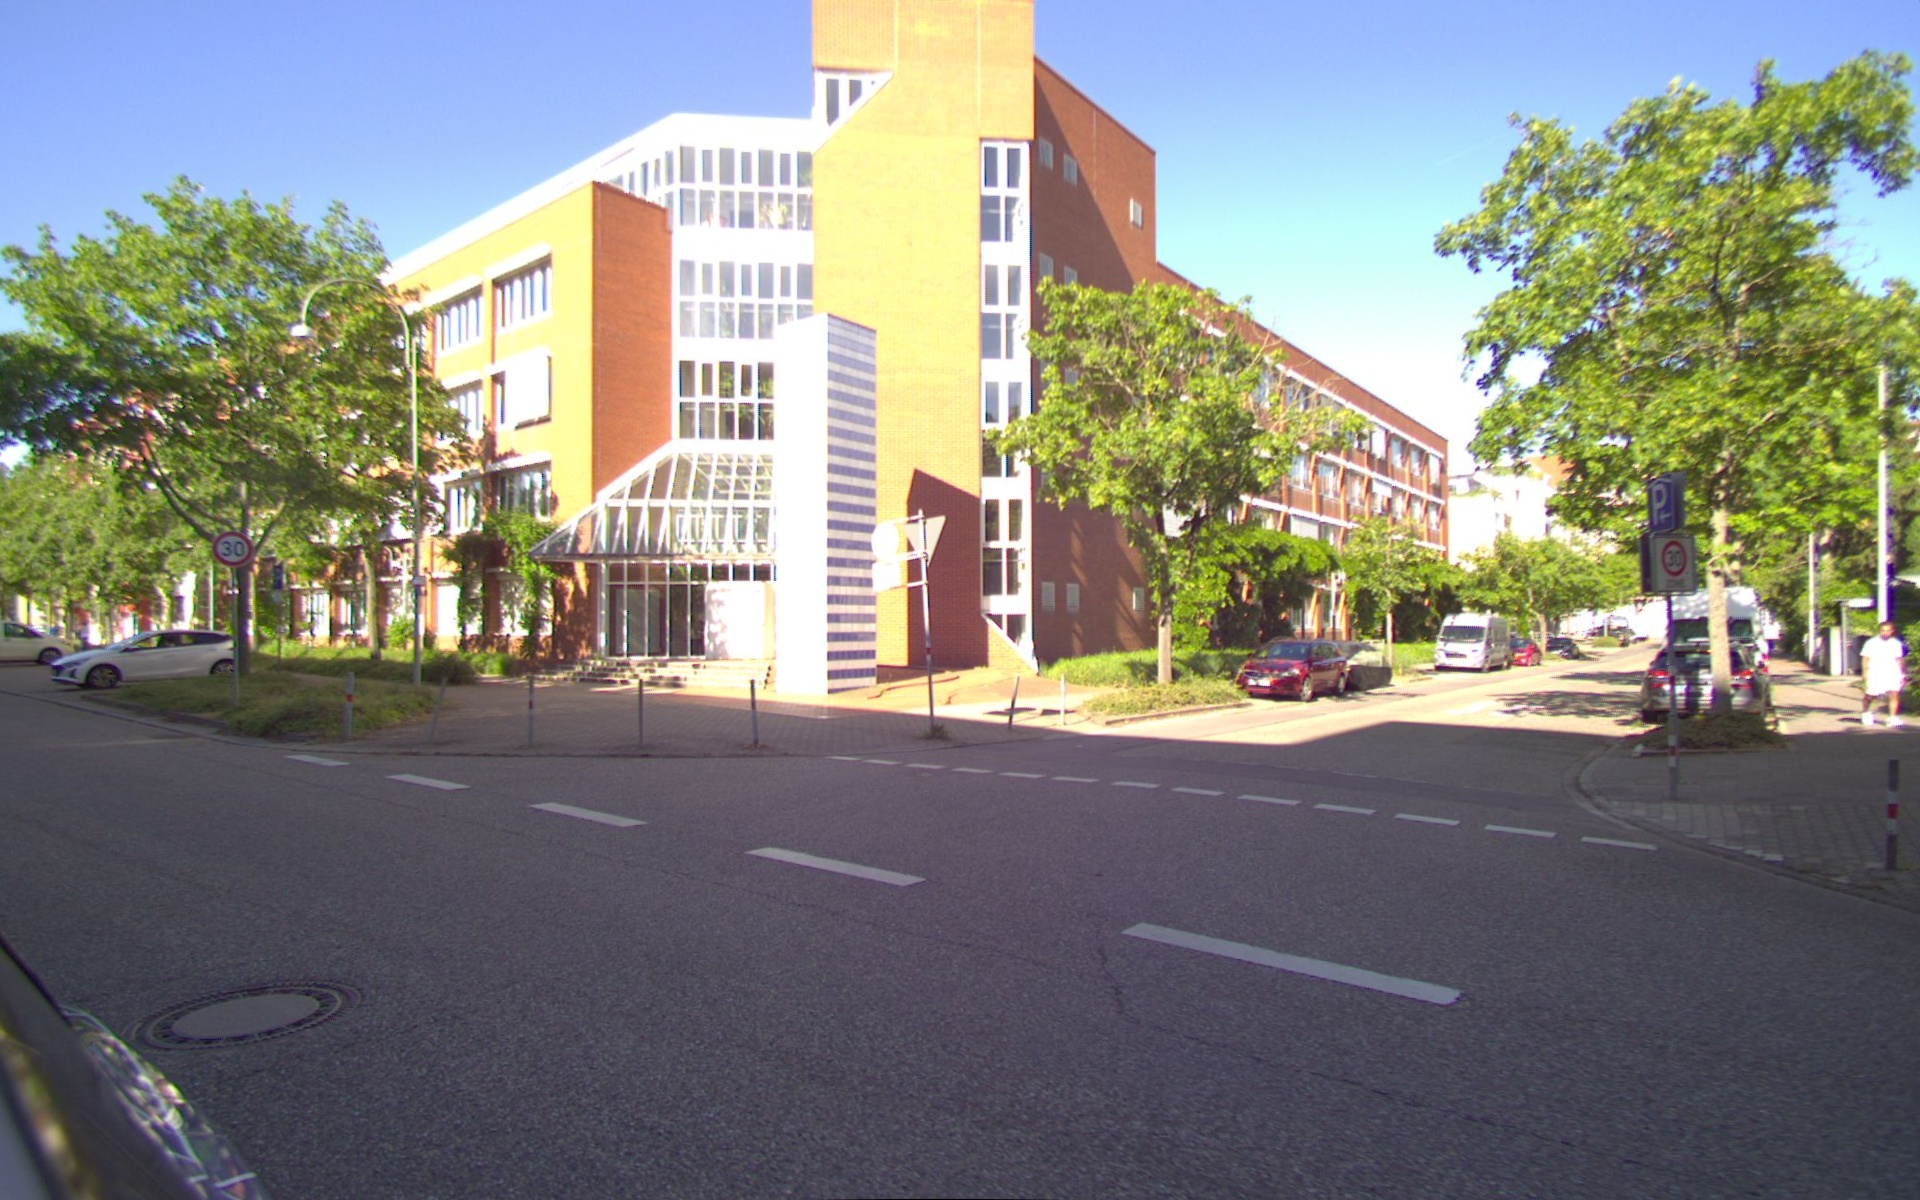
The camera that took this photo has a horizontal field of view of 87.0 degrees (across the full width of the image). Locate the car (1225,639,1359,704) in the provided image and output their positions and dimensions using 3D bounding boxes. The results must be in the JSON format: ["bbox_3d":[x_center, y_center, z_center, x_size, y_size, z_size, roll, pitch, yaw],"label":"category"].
[{"bbox_3d":[8.627,1.758,26.051,1.846,1.463,4.382,-2,-2,39],"label":"car"}]

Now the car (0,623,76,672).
[{"bbox_3d":[-38.775,1.881,40.177,1.998,1.901,5.251,-2,-3,39],"label":"car"}]

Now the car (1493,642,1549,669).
[{"bbox_3d":[29.105,2.845,52.464,1.846,1.341,4.028,-2,-3,39],"label":"car"}]

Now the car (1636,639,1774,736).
[{"bbox_3d":[13.987,1.528,18.985,1.845,1.519,4.664,-2,-2,37],"label":"car"}]

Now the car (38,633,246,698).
[{"bbox_3d":[-21.118,1.636,26.275,1.616,1.430,3.956,-2,-1,37],"label":"car"}]

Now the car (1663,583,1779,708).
[{"bbox_3d":[17.863,1.069,23.777,1.920,2.589,5.409,-2,-3,37],"label":"car"}]

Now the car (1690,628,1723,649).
[{"bbox_3d":[58.641,3.042,79.452,1.859,1.566,3.640,-2,-3,40],"label":"car"}]

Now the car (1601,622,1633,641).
[{"bbox_3d":[59.583,2.882,91.766,1.776,1.686,3.944,-2,-3,42],"label":"car"}]

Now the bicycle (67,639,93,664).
[{"bbox_3d":[-40.097,2.342,46.111,2.155,1.107,0.629,-1,-2,43],"label":"bicycle"}]

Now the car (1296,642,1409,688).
[{"bbox_3d":[11.927,1.899,30.559,1.846,1.196,4.662,-2,-2,39],"label":"car"}]

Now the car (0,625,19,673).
[{"bbox_3d":[-46.179,2.228,46.123,1.998,2.186,4.576,-2,-3,39],"label":"car"}]

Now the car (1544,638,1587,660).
[{"bbox_3d":[38.686,3.106,64.625,1.768,1.341,4.028,-2,-3,39],"label":"car"}]

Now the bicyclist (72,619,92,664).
[{"bbox_3d":[-40.023,1.887,46.140,0.609,2.029,0.625,-2,-1,42],"label":"bicyclist"}]

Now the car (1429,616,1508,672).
[{"bbox_3d":[22.063,1.849,43.787,2.083,2.287,4.662,-2,-2,39],"label":"car"}]

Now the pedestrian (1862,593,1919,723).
[{"bbox_3d":[14.282,0.875,15.469,0.671,1.932,0.615,-2,-3,40],"label":"pedestrian"}]
